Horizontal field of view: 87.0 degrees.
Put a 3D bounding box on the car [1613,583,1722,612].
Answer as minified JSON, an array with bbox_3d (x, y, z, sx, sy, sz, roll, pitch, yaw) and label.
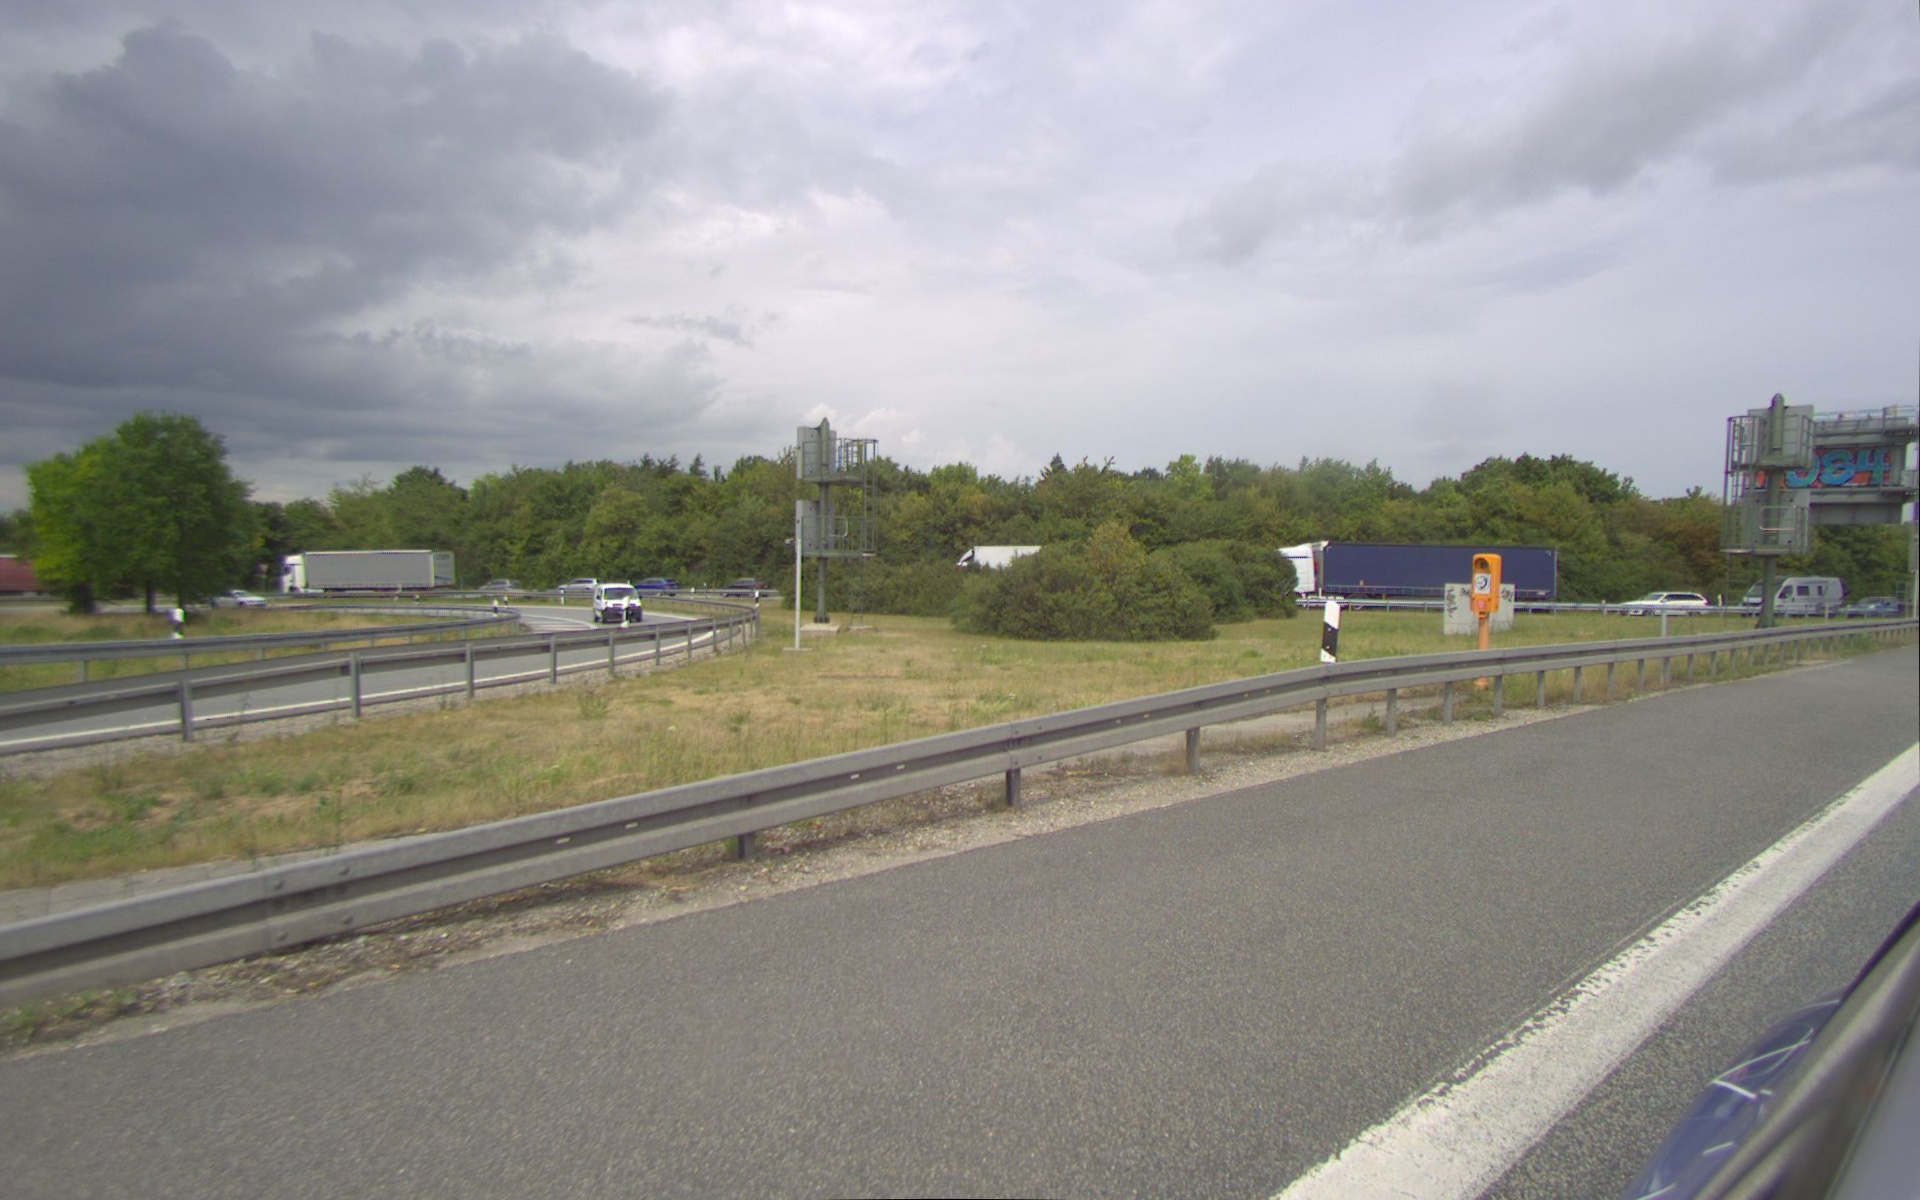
[{"bbox_3d":[40.365,-0.147,57.835,4.692,1.520,2.216,1,2,-4],"label":"car"}]

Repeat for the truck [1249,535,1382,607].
[{"bbox_3d":[21.032,-1.714,60.200,6.664,4.146,3.369,1,1,3],"label":"truck"}]

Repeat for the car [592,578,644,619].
[{"bbox_3d":[-15.865,-0.067,46.834,1.763,1.772,4.006,-2,1,-26],"label":"car"}]

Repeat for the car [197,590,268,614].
[{"bbox_3d":[-55.787,0.167,77.614,4.447,1.772,1.796,0,0,8],"label":"car"}]

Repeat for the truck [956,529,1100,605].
[{"bbox_3d":[4.408,-2.109,65.990,8.879,4.673,3.262,0,1,20],"label":"truck"}]

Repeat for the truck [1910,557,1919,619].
[{"bbox_3d":[66.747,-0.779,66.708,10.131,4.004,3.031,0,1,-29],"label":"truck"}]

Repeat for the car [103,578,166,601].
[{"bbox_3d":[-74.253,-0.948,91.116,3.917,2.039,2.004,0,1,-10],"label":"car"}]

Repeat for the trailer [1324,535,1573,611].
[{"bbox_3d":[28.569,-1.597,59.737,12.797,4.245,3.338,1,1,4],"label":"trailer"}]

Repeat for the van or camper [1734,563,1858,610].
[{"bbox_3d":[48.791,-0.814,59.090,6.031,2.600,2.306,1,1,-13],"label":"van or camper"}]

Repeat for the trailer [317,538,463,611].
[{"bbox_3d":[-50.182,-2.243,89.147,11.920,6.164,4.000,0,1,15],"label":"trailer"}]

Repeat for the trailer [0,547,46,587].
[{"bbox_3d":[-88.334,-2.889,89.139,11.443,3.492,3.140,0,1,-14],"label":"trailer"}]

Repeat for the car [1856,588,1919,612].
[{"bbox_3d":[56.407,-0.016,61.287,3.589,1.437,1.738,0,1,-22],"label":"car"}]

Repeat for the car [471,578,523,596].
[{"bbox_3d":[-39.324,-1.132,85.961,3.949,1.504,1.823,0,1,19],"label":"car"}]

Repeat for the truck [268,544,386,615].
[{"bbox_3d":[-56.870,-1.851,90.972,8.845,6.149,4.051,0,0,15],"label":"truck"}]

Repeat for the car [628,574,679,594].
[{"bbox_3d":[-23.922,-1.241,78.901,3.964,1.487,1.485,1,1,29],"label":"car"}]
